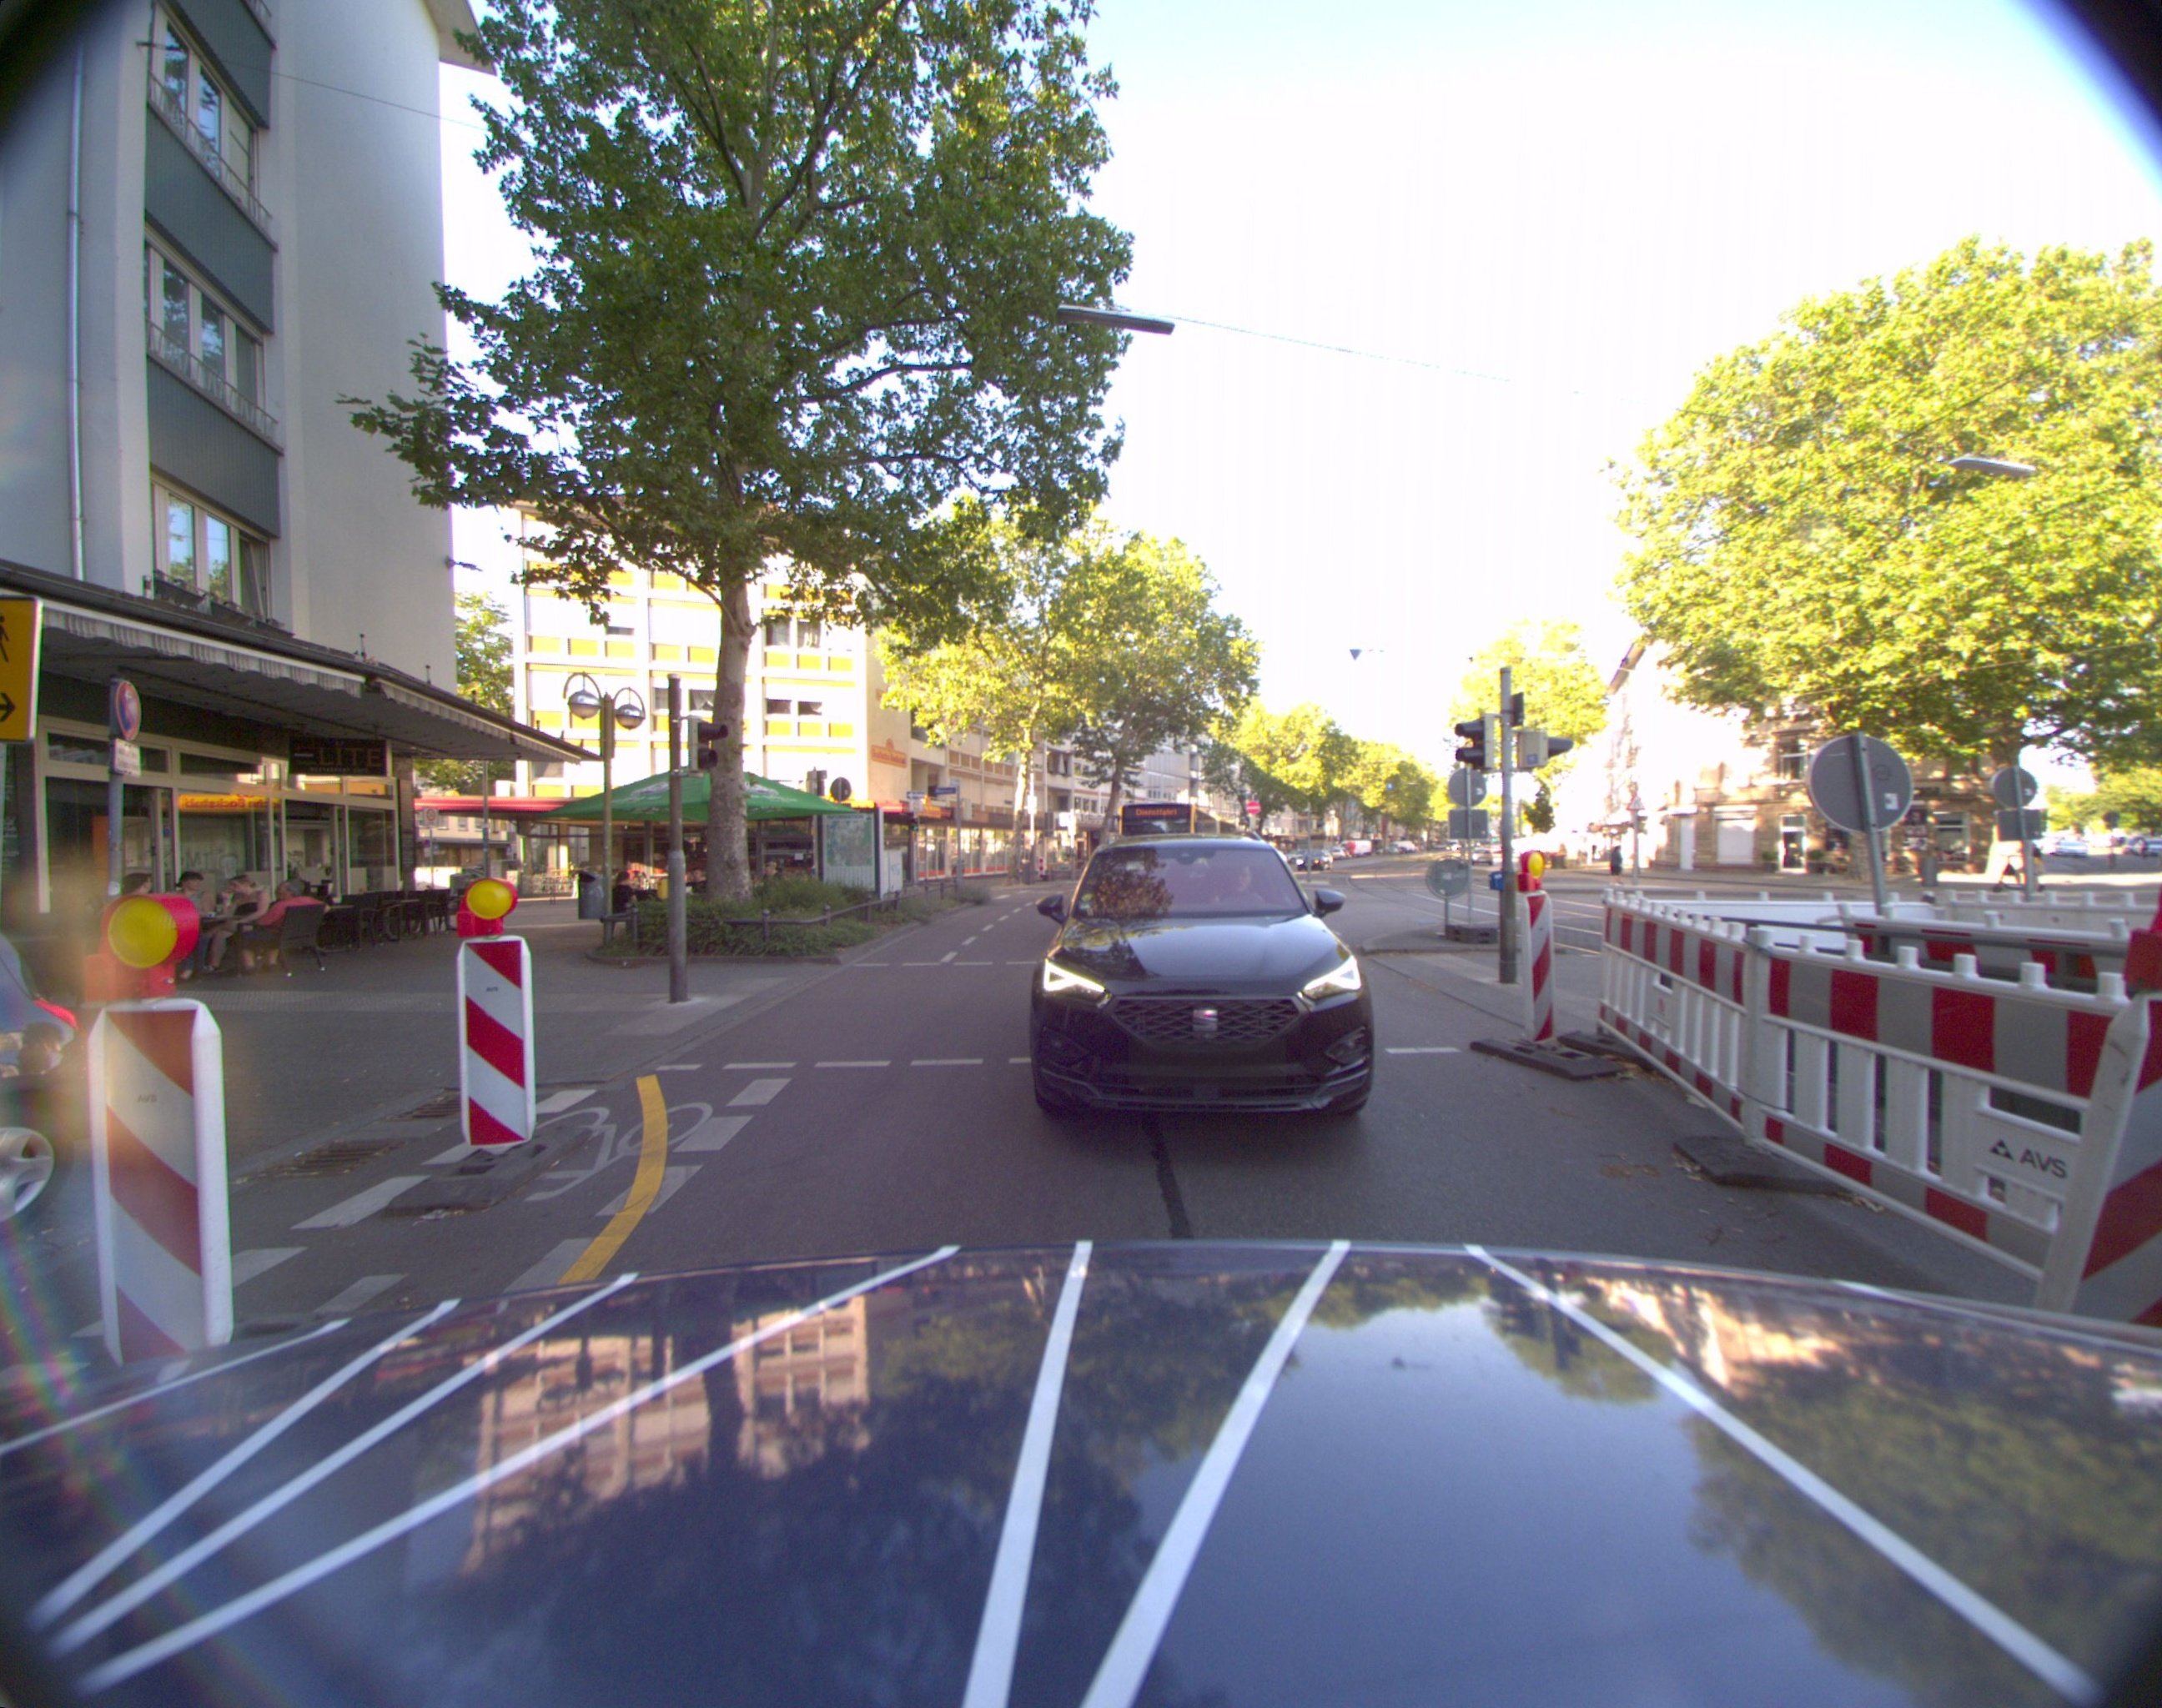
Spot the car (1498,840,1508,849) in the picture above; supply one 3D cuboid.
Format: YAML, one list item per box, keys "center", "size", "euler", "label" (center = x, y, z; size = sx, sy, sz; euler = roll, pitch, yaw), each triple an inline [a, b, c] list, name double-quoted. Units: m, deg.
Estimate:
- center: [83.384, -1.837, 150.009]
  size: [1.686, 1.737, 4.007]
  euler: [0, 1, 29]
  label: "car"

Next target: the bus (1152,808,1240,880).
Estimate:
- center: [5.766, -0.465, 36.746]
  size: [2.717, 3.088, 8.608]
  euler: [0, 1, 19]
  label: "bus"

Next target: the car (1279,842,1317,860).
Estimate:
- center: [24.346, -0.321, 85.146]
  size: [3.991, 2.002, 2.003]
  euler: [0, 1, 18]
  label: "car"

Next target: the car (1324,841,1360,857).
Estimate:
- center: [33.772, -0.651, 98.367]
  size: [3.994, 2.002, 2.001]
  euler: [-1, 1, 8]
  label: "car"

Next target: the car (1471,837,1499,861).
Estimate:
- center: [34.601, -0.465, 65.053]
  size: [1.994, 2.002, 4.007]
  euler: [0, 1, 29]
  label: "car"

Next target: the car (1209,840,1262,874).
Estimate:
- center: [9.414, 0.155, 45.991]
  size: [1.995, 2.002, 4.105]
  euler: [0, 1, 29]
  label: "car"

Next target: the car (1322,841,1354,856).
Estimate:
- center: [36.428, -0.814, 107.605]
  size: [3.994, 2.002, 2.001]
  euler: [-1, 1, 8]
  label: "car"

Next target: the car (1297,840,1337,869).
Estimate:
- center: [16.549, 0.007, 53.226]
  size: [1.995, 2.002, 4.007]
  euler: [0, 1, 27]
  label: "car"

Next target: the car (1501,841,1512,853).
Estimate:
- center: [71.362, -1.195, 127.461]
  size: [1.686, 1.841, 4.007]
  euler: [0, 1, 29]
  label: "car"

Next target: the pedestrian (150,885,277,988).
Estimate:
- center: [-10.837, 1.007, 9.517]
  size: [0.647, 1.186, 0.792]
  euler: [0, 1, 7]
  label: "pedestrian"

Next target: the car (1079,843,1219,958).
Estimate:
- center: [1.010, 0.646, 12.955]
  size: [1.998, 1.634, 4.075]
  euler: [-1, 1, 1]
  label: "car"

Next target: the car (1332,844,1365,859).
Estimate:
- center: [36.262, -0.328, 103.098]
  size: [3.994, 2.002, 2.001]
  euler: [-1, 1, 8]
  label: "car"

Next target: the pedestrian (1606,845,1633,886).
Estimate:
- center: [20.298, 0.443, 28.653]
  size: [0.603, 1.524, 0.745]
  euler: [0, 1, 12]
  label: "pedestrian"

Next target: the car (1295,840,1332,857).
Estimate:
- center: [28.291, -0.684, 92.443]
  size: [3.994, 2.002, 2.001]
  euler: [-1, 1, 8]
  label: "car"

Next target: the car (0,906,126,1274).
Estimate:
- center: [-5.228, 0.966, 1.654]
  size: [1.771, 1.459, 3.610]
  euler: [2, 0, -2]
  label: "car"

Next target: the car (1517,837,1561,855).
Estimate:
- center: [52.371, -0.926, 86.882]
  size: [4.001, 2.002, 1.997]
  euler: [-1, 1, -13]
  label: "car"

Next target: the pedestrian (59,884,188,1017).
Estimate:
- center: [-10.281, 0.999, 8.169]
  size: [0.789, 1.299, 0.701]
  euler: [0, 1, 28]
  label: "pedestrian"

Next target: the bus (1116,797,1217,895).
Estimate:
- center: [3.452, -0.283, 28.375]
  size: [2.718, 3.088, 8.629]
  euler: [0, 1, 13]
  label: "bus"

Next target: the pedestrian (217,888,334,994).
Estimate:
- center: [-9.846, 1.034, 9.301]
  size: [0.877, 1.186, 0.701]
  euler: [0, 1, 24]
  label: "pedestrian"

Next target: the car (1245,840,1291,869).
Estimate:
- center: [13.602, 0.036, 55.067]
  size: [1.994, 2.002, 4.008]
  euler: [0, 1, 33]
  label: "car"

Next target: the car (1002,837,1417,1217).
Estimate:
- center: [0.605, 0.762, 5.400]
  size: [1.841, 1.696, 4.000]
  euler: [-1, 1, 1]
  label: "car"

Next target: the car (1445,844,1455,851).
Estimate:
- center: [89.732, -1.590, 184.825]
  size: [1.836, 1.692, 4.138]
  euler: [0, 1, 31]
  label: "car"

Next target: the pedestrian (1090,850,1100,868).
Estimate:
- center: [1.080, 0.368, 60.113]
  size: [0.627, 1.429, 0.532]
  euler: [0, 1, 20]
  label: "pedestrian"
